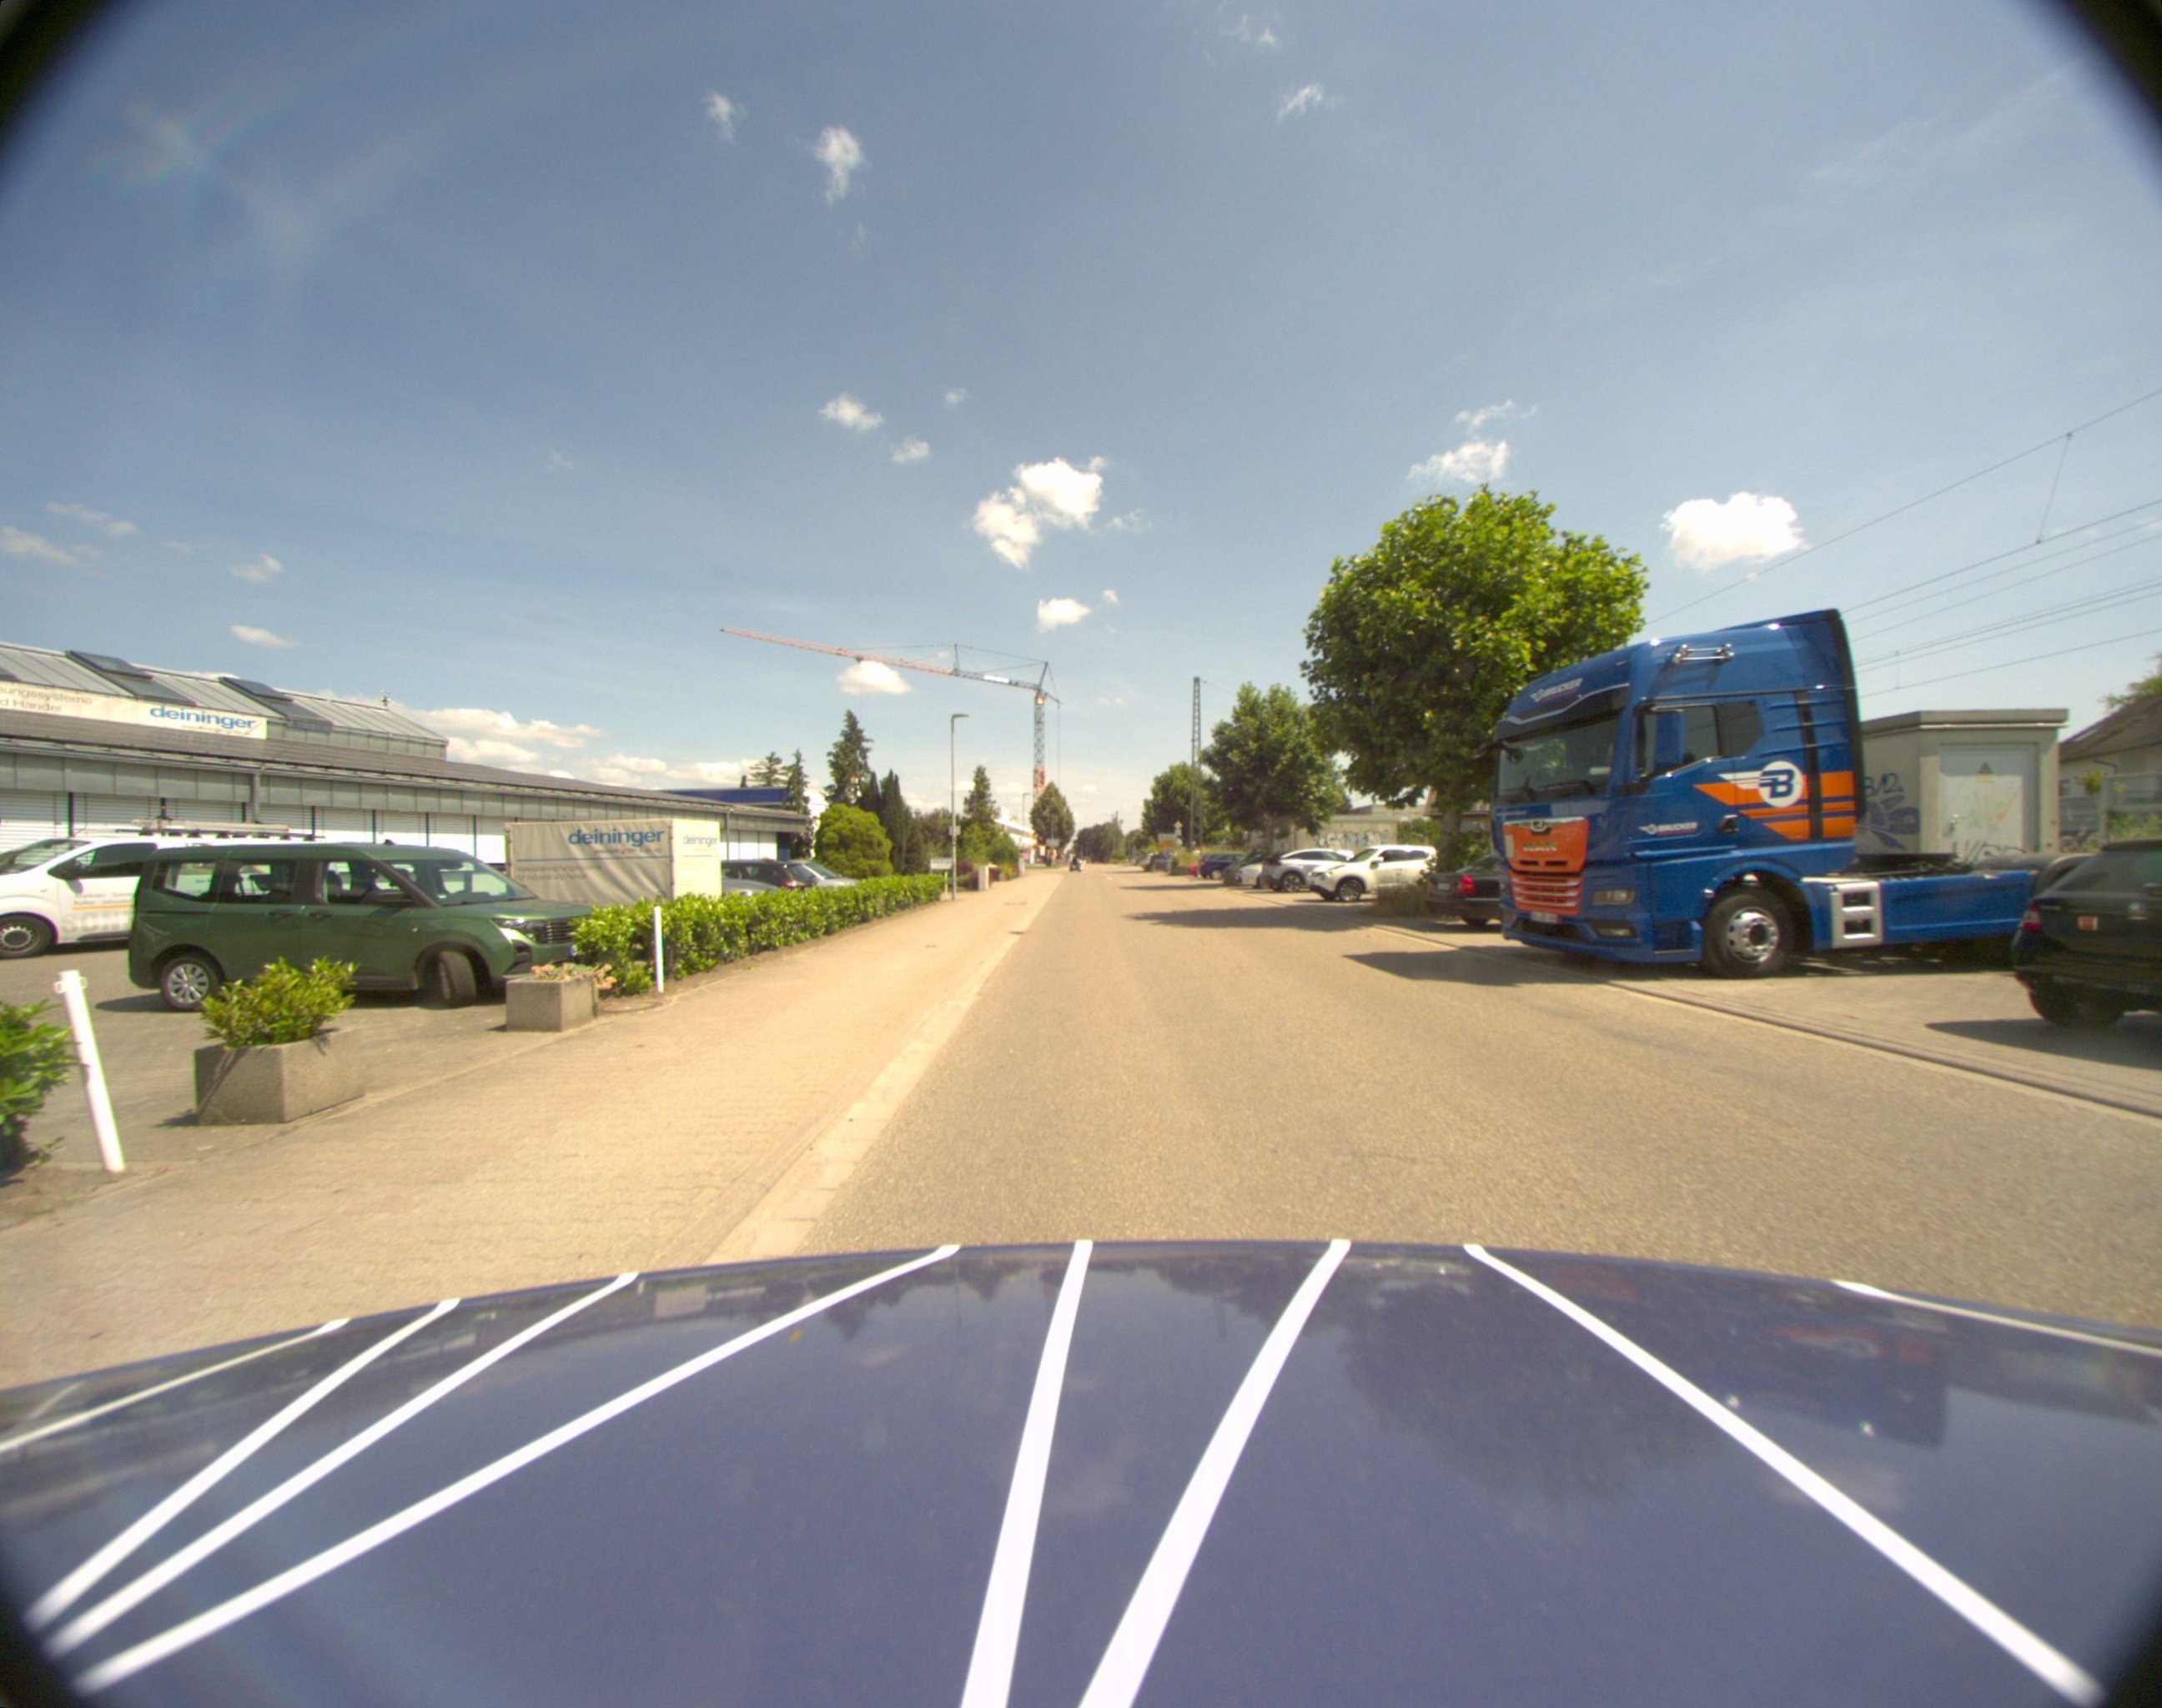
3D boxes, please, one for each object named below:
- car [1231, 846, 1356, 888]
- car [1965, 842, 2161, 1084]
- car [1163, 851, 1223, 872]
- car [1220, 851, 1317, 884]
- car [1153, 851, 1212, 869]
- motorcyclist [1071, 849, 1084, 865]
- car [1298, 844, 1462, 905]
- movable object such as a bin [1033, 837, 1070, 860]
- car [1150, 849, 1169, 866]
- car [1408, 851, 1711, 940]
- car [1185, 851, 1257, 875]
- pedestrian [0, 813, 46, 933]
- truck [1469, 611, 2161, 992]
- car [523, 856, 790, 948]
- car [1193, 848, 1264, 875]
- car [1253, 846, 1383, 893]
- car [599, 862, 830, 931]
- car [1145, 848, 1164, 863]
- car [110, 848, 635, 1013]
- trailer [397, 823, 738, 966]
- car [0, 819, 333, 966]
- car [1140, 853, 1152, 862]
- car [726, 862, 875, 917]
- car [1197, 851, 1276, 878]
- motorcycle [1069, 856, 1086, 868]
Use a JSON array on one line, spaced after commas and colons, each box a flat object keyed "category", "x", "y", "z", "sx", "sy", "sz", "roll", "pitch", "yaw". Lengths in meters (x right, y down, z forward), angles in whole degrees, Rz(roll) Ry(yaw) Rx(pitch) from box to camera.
[{"category": "car", "x": 8.240, "y": 0.495, "z": 29.792, "sx": 4.349, "sy": 1.524, "sz": 1.926, "roll": -1, "pitch": 0, "yaw": 0}, {"category": "car", "x": 8.590, "y": 0.695, "z": 4.992, "sx": 3.653, "sy": 1.492, "sz": 1.699, "roll": 0, "pitch": 2, "yaw": -3}, {"category": "car", "x": 8.159, "y": 0.552, "z": 55.686, "sx": 4.084, "sy": 1.394, "sz": 1.786, "roll": -1, "pitch": 1, "yaw": -2}, {"category": "car", "x": 8.669, "y": 0.608, "z": 35.369, "sx": 4.083, "sy": 1.464, "sz": 1.787, "roll": 0, "pitch": 1, "yaw": 1}, {"category": "car", "x": 8.072, "y": 0.470, "z": 60.512, "sx": 4.438, "sy": 1.402, "sz": 1.787, "roll": 0, "pitch": 0, "yaw": -2}, {"category": "motorcyclist", "x": -0.357, "y": 0.283, "z": 69.977, "sx": 0.779, "sy": 1.500, "sz": 0.919, "roll": -2, "pitch": 1, "yaw": -33}, {"category": "car", "x": 8.478, "y": 0.559, "z": 21.769, "sx": 3.981, "sy": 1.608, "sz": 1.850, "roll": -1, "pitch": 0, "yaw": -3}, {"category": "movable object such as a bin", "x": -4.517, "y": -0.873, "z": 115.664, "sx": 5.133, "sy": 3.276, "sz": 2.390, "roll": 0, "pitch": 6, "yaw": -16}, {"category": "car", "x": 7.331, "y": 0.318, "z": 70.707, "sx": 1.688, "sy": 1.522, "sz": 4.064, "roll": 0, "pitch": 0, "yaw": 7}, {"category": "car", "x": 8.346, "y": 0.683, "z": 13.544, "sx": 4.219, "sy": 1.387, "sz": 1.872, "roll": -1, "pitch": 1, "yaw": 0}, {"category": "car", "x": 8.586, "y": 0.550, "z": 46.817, "sx": 4.083, "sy": 1.360, "sz": 1.674, "roll": -1, "pitch": -1, "yaw": 1}, {"category": "pedestrian", "x": -17.770, "y": 0.291, "z": 12.397, "sx": 0.717, "sy": 1.932, "sz": 0.690, "roll": 0, "pitch": 3, "yaw": -1}, {"category": "truck", "x": 8.708, "y": -0.570, "z": 9.195, "sx": 6.631, "sy": 3.801, "sz": 2.663, "roll": -1, "pitch": 1, "yaw": -2}, {"category": "car", "x": -7.871, "y": 0.858, "z": 14.427, "sx": 4.045, "sy": 1.566, "sz": 1.712, "roll": 0, "pitch": 2, "yaw": -5}, {"category": "car", "x": 8.434, "y": 0.424, "z": 43.638, "sx": 3.675, "sy": 1.439, "sz": 1.684, "roll": -2, "pitch": 0, "yaw": -1}, {"category": "car", "x": 8.370, "y": 0.518, "z": 27.119, "sx": 3.997, "sy": 1.539, "sz": 1.999, "roll": -1, "pitch": 1, "yaw": -1}, {"category": "car", "x": -8.441, "y": 0.956, "z": 17.830, "sx": 4.487, "sy": 1.432, "sz": 1.814, "roll": -1, "pitch": 0, "yaw": -3}, {"category": "car", "x": 7.812, "y": 0.156, "z": 80.790, "sx": 1.807, "sy": 1.555, "sz": 4.263, "roll": 0, "pitch": 0, "yaw": 3}, {"category": "car", "x": -7.761, "y": 0.784, "z": 8.685, "sx": 4.223, "sy": 1.625, "sz": 1.800, "roll": 0, "pitch": 2, "yaw": -1}, {"category": "trailer", "x": -7.933, "y": 0.588, "z": 12.067, "sx": 3.997, "sy": 2.002, "sz": 2.000, "roll": -1, "pitch": 1, "yaw": 1}, {"category": "car", "x": -16.085, "y": 0.513, "z": 12.676, "sx": 2.103, "sy": 2.113, "sz": 4.721, "roll": 1, "pitch": 1, "yaw": 14}, {"category": "car", "x": 9.801, "y": 0.520, "z": 114.541, "sx": 1.607, "sy": 1.342, "sz": 4.000, "roll": 0, "pitch": 0, "yaw": 2}, {"category": "car", "x": -7.527, "y": 0.920, "z": 20.604, "sx": 3.360, "sy": 1.393, "sz": 1.770, "roll": 0, "pitch": 0, "yaw": 4}, {"category": "car", "x": 8.328, "y": 0.554, "z": 40.980, "sx": 3.953, "sy": 1.442, "sz": 1.787, "roll": 0, "pitch": 1, "yaw": 5}, {"category": "motorcycle", "x": -0.350, "y": 0.754, "z": 69.990, "sx": 0.465, "sy": 1.045, "sz": 1.950, "roll": -2, "pitch": 1, "yaw": -35}]
